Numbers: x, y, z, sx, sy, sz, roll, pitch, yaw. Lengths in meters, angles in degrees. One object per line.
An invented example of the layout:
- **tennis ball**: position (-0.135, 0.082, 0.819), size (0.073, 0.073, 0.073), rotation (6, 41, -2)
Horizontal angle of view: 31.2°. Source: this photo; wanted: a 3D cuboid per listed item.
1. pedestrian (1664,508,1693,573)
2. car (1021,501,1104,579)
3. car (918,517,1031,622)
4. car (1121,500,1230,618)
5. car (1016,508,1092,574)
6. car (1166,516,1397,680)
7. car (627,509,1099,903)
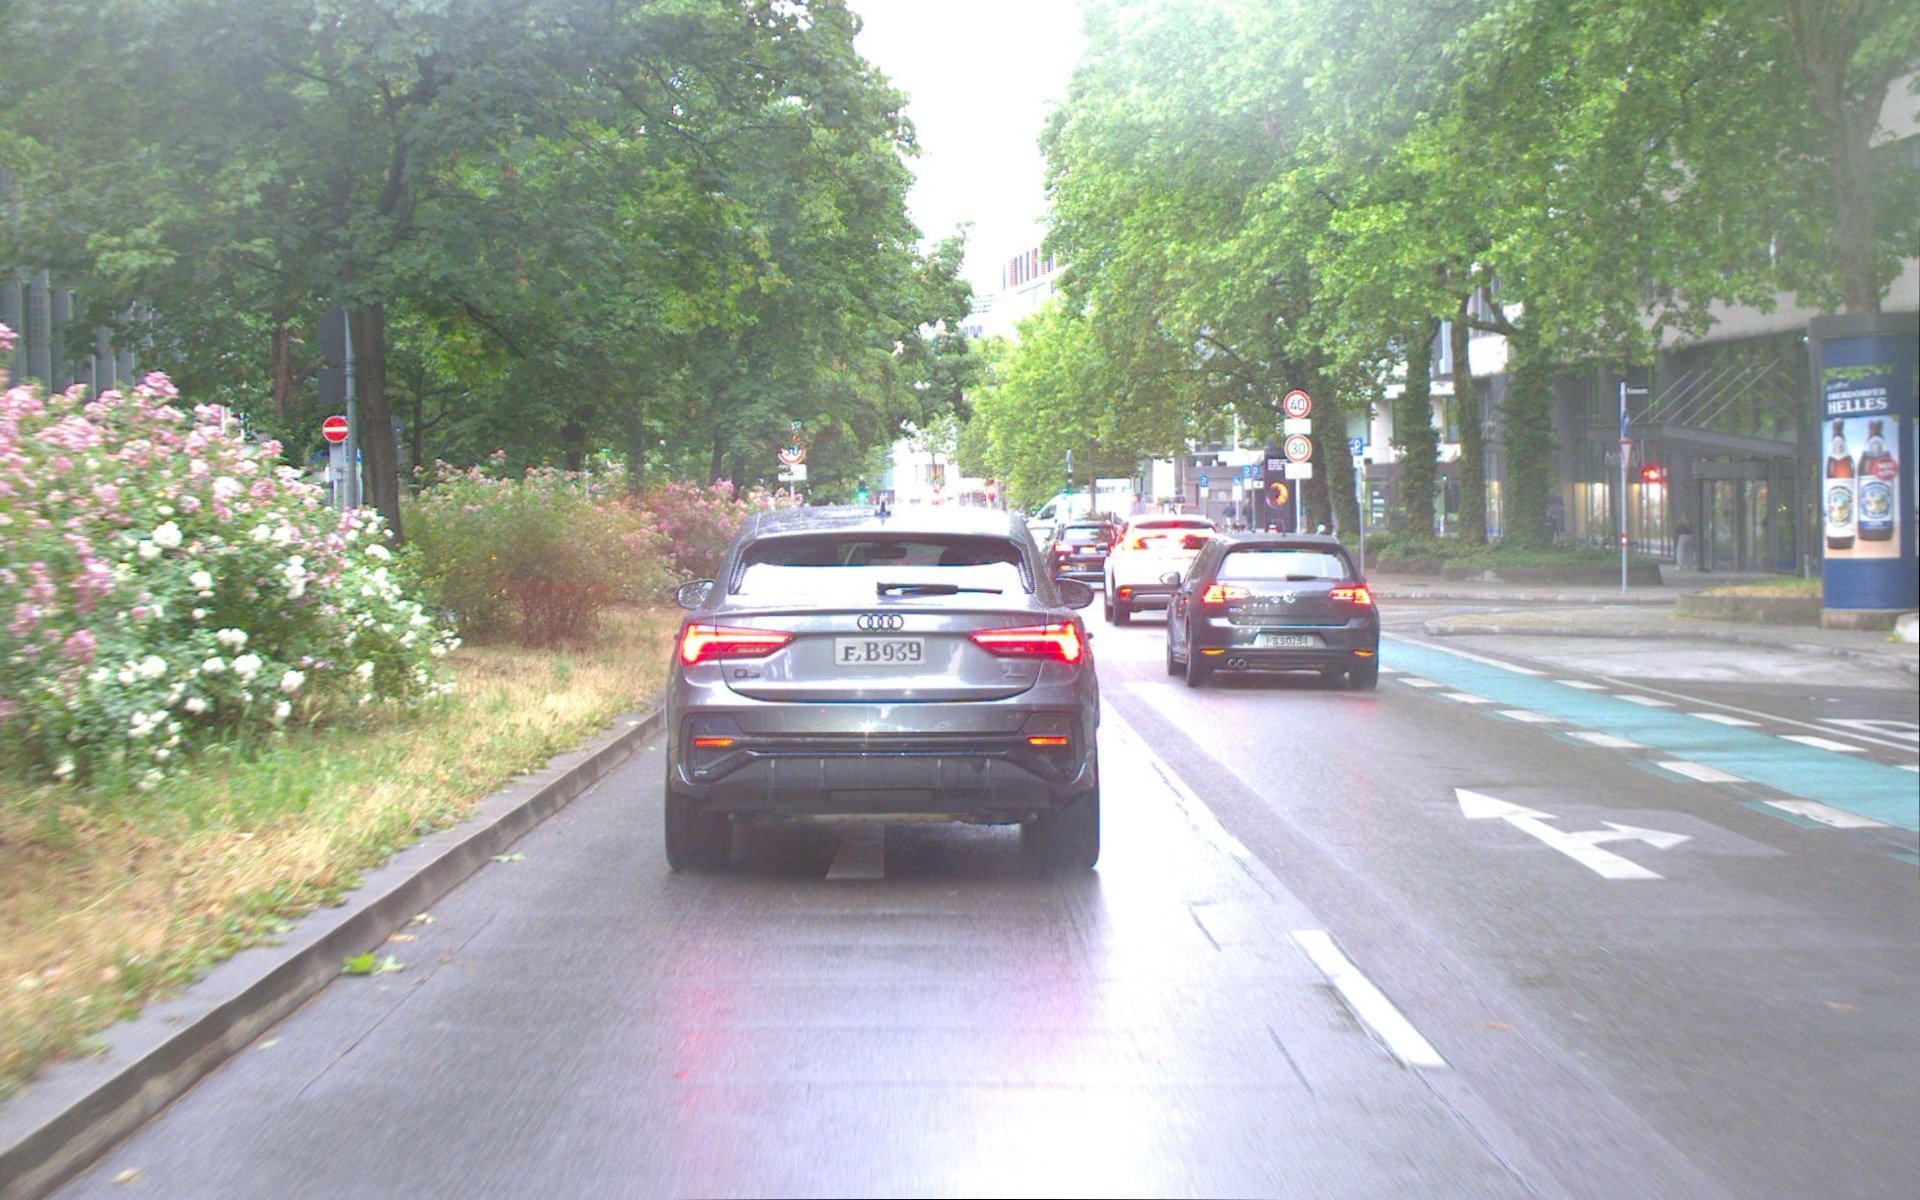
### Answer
- **pedestrian**: position (20.115, -1.675, 96.298), size (0.650, 1.809, 0.655), rotation (0, 1, -1)
- **car**: position (2.371, -1.424, 80.304), size (1.822, 1.744, 4.000), rotation (0, 2, 0)
- **car**: position (0.209, -0.512, 54.695), size (1.721, 1.572, 3.962), rotation (0, 2, 0)
- **car**: position (3.214, -0.640, 51.629), size (1.433, 1.679, 2.979), rotation (-1, 2, 0)
- **car**: position (2.590, -1.662, 95.851), size (1.993, 1.744, 4.000), rotation (0, 2, 0)
- **car**: position (2.991, -0.064, 32.686), size (1.765, 1.408, 4.001), rotation (-1, 2, -1)
- **car**: position (-0.343, 0.361, 15.854), size (1.863, 1.527, 4.527), rotation (0, 2, 1)
